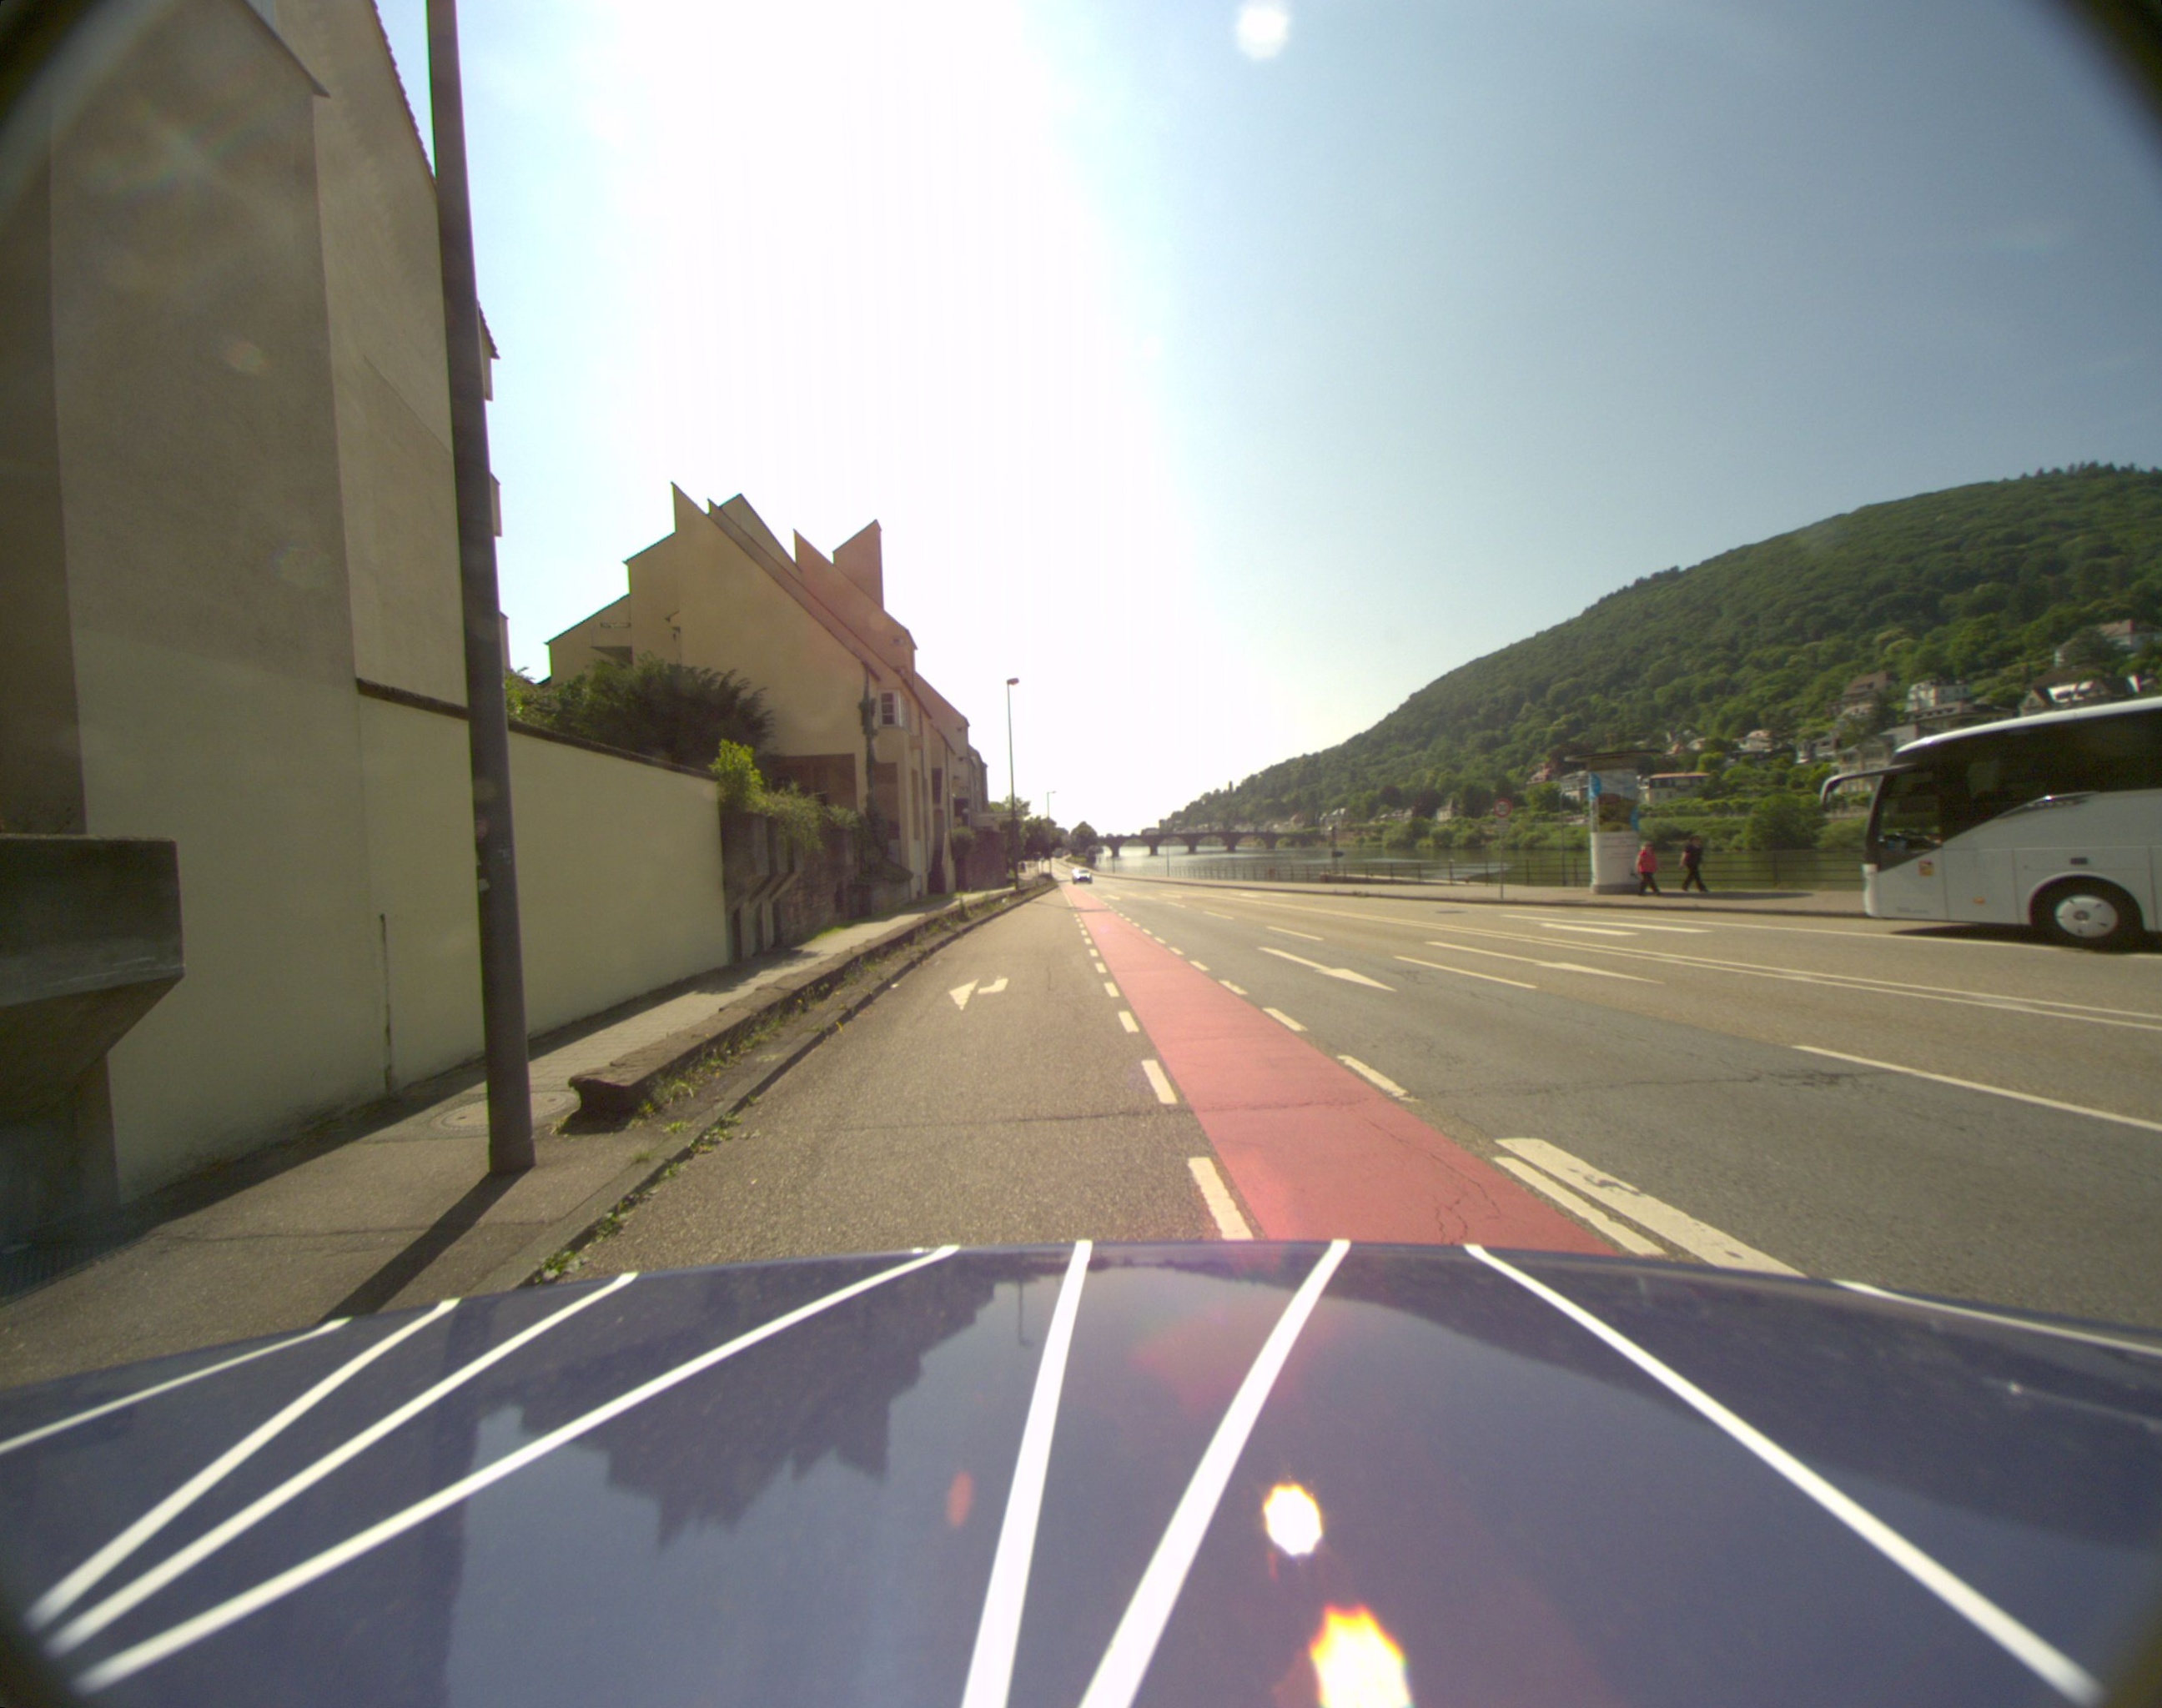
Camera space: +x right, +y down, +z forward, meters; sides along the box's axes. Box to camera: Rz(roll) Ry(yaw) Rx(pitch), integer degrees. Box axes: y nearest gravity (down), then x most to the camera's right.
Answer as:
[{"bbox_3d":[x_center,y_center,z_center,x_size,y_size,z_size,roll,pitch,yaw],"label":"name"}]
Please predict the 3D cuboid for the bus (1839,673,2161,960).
[{"bbox_3d":[16.222,-0.654,7.284,2.966,3.778,13.234,-5,0,-10],"label":"bus"}]

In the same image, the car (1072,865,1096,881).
[{"bbox_3d":[0.276,1.815,73.113,1.999,1.433,3.999,-1,0,-4],"label":"car"}]

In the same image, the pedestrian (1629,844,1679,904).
[{"bbox_3d":[15.968,0.551,21.196,0.705,1.611,0.816,-2,0,-15],"label":"pedestrian"}]

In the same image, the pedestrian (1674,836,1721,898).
[{"bbox_3d":[17.608,0.368,21.699,0.686,1.699,0.772,-2,1,-20],"label":"pedestrian"}]
